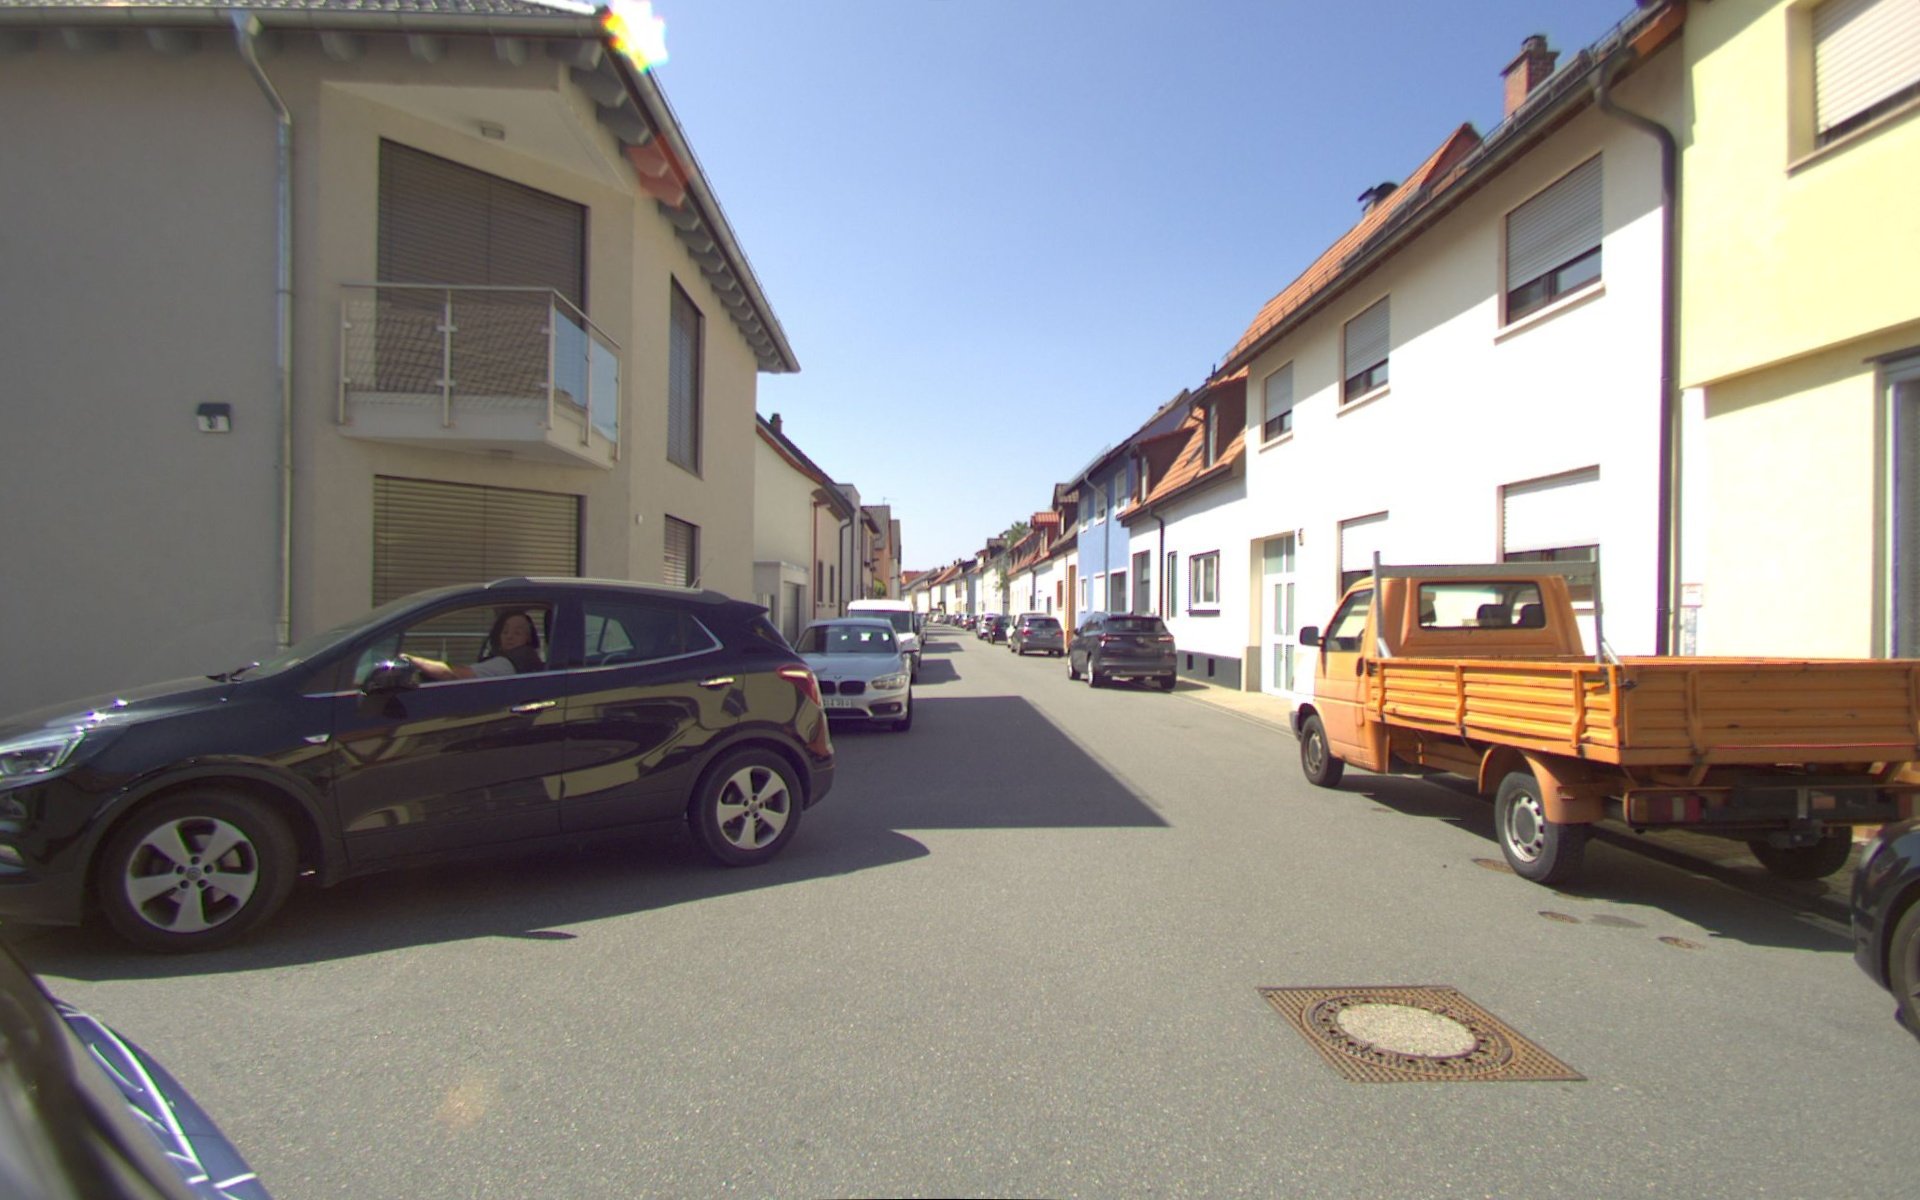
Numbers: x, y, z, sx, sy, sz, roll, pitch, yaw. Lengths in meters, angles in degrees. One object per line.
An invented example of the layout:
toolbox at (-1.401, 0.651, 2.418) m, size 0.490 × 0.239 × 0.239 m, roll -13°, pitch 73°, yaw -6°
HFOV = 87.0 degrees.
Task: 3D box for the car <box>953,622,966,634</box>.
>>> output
car at (-0.052, 2.824, 104.094) m, size 1.277 × 1.193 × 2.964 m, roll 1°, pitch -1°, yaw -2°

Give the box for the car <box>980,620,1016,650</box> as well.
car at (2.091, 1.905, 56.373) m, size 1.654 × 1.586 × 4.110 m, roll 1°, pitch -1°, yaw -2°

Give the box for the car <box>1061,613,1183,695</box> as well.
car at (3.467, 1.132, 22.342) m, size 1.823 × 1.626 × 4.003 m, roll 1°, pitch -1°, yaw -3°

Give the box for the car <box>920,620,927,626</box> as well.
car at (-6.793, 4.286, 190.026) m, size 1.277 × 1.193 × 2.964 m, roll 1°, pitch -1°, yaw -2°

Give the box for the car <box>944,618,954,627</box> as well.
car at (-1.556, 3.162, 142.128) m, size 1.277 × 1.193 × 2.964 m, roll 1°, pitch -1°, yaw -2°

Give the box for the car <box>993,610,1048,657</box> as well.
car at (2.802, 1.529, 47.838) m, size 1.969 × 2.029 × 4.005 m, roll 1°, pitch 0°, yaw -6°

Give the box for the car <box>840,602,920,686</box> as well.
car at (-1.803, 0.971, 23.320) m, size 1.660 × 1.743 × 3.789 m, roll 1°, pitch -1°, yaw -3°

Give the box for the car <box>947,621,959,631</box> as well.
car at (-0.866, 3.036, 119.406) m, size 1.277 × 1.193 × 2.964 m, roll 1°, pitch -1°, yaw -2°

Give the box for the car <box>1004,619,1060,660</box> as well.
car at (2.766, 1.513, 39.678) m, size 1.700 × 1.513 × 4.217 m, roll 1°, pitch -1°, yaw -2°

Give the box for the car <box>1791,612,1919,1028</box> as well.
car at (4.320, 0.786, 1.641) m, size 1.900 × 1.404 × 4.634 m, roll 4°, pitch -1°, yaw -3°

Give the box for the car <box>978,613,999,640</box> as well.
car at (1.998, 1.853, 70.950) m, size 1.277 × 1.845 × 2.964 m, roll 1°, pitch -1°, yaw -2°

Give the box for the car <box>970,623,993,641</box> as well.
car at (1.324, 1.981, 63.316) m, size 1.277 × 1.084 × 2.765 m, roll 1°, pitch -1°, yaw -2°

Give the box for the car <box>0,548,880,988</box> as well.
car at (-2.669, 0.679, 5.530) m, size 4.213 × 1.595 × 1.765 m, roll 2°, pitch -3°, yaw -40°

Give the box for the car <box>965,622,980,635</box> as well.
car at (1.145, 2.619, 92.763) m, size 1.277 × 1.193 × 2.964 m, roll 1°, pitch -1°, yaw -2°

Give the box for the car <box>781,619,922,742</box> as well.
car at (-1.344, 0.974, 13.806) m, size 1.615 × 1.379 × 3.929 m, roll -1°, pitch -1°, yaw -2°

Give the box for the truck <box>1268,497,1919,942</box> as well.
truck at (4.121, 0.584, 7.211) m, size 2.158 × 2.029 × 5.081 m, roll 1°, pitch -1°, yaw -1°
